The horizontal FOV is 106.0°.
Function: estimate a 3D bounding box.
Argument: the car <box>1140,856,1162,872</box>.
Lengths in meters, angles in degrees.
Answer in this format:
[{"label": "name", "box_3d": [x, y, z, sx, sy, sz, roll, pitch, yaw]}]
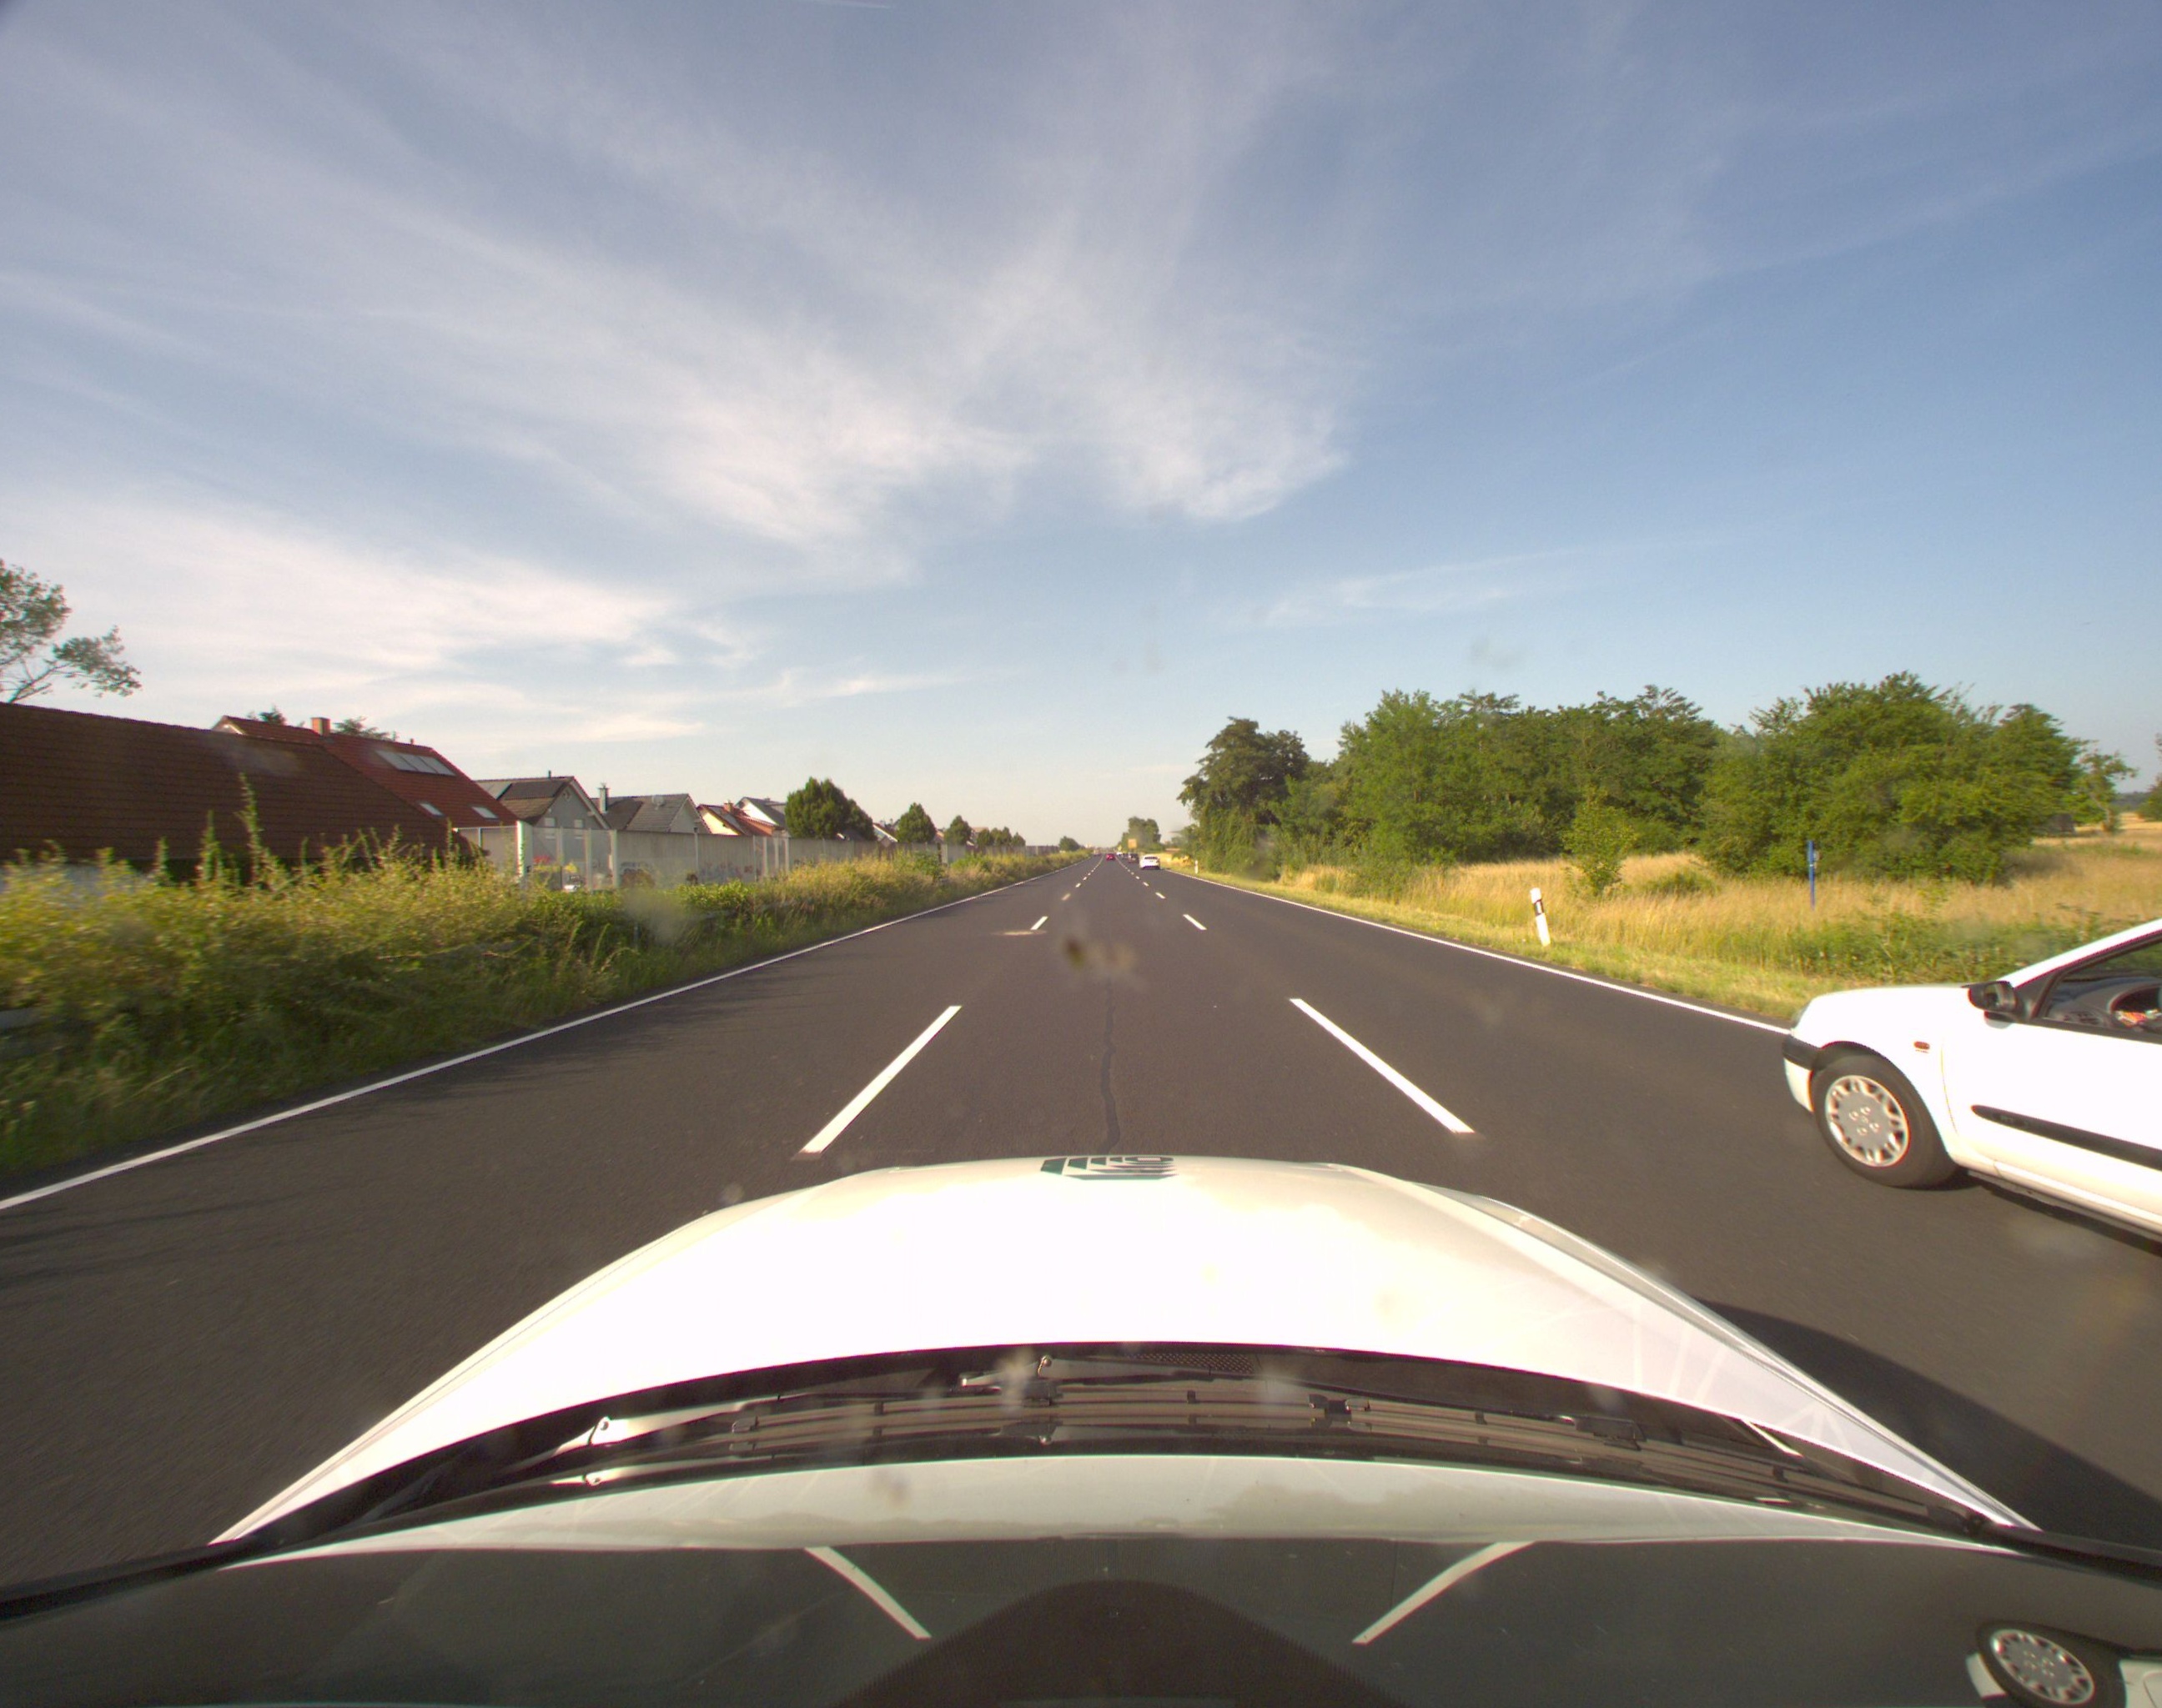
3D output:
[{"label": "car", "box_3d": [6.958, 0.962, 80.899, 1.986, 1.516, 4.001, 0, -1, 2]}]

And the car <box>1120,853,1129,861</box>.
[{"label": "car", "box_3d": [9.431, 0.610, 175.423, 1.827, 1.717, 3.864, 0, -1, 2]}]

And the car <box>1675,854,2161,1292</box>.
[{"label": "car", "box_3d": [4.244, 0.694, 2.781, 1.611, 1.387, 3.952, -1, -1, 1]}]

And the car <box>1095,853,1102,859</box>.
[{"label": "car", "box_3d": [5.327, 0.552, 244.902, 1.986, 1.717, 4.001, 0, -1, 2]}]

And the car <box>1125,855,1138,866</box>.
[{"label": "car", "box_3d": [7.910, 0.992, 128.093, 1.821, 1.728, 4.001, 0, -1, 1]}]

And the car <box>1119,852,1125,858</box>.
[{"label": "car", "box_3d": [12.417, 0.257, 249.043, 1.840, 1.750, 4.002, 0, -1, 2]}]

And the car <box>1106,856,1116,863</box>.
[{"label": "car", "box_3d": [5.848, 1.081, 159.676, 1.805, 1.436, 3.859, 0, -1, 1]}]
